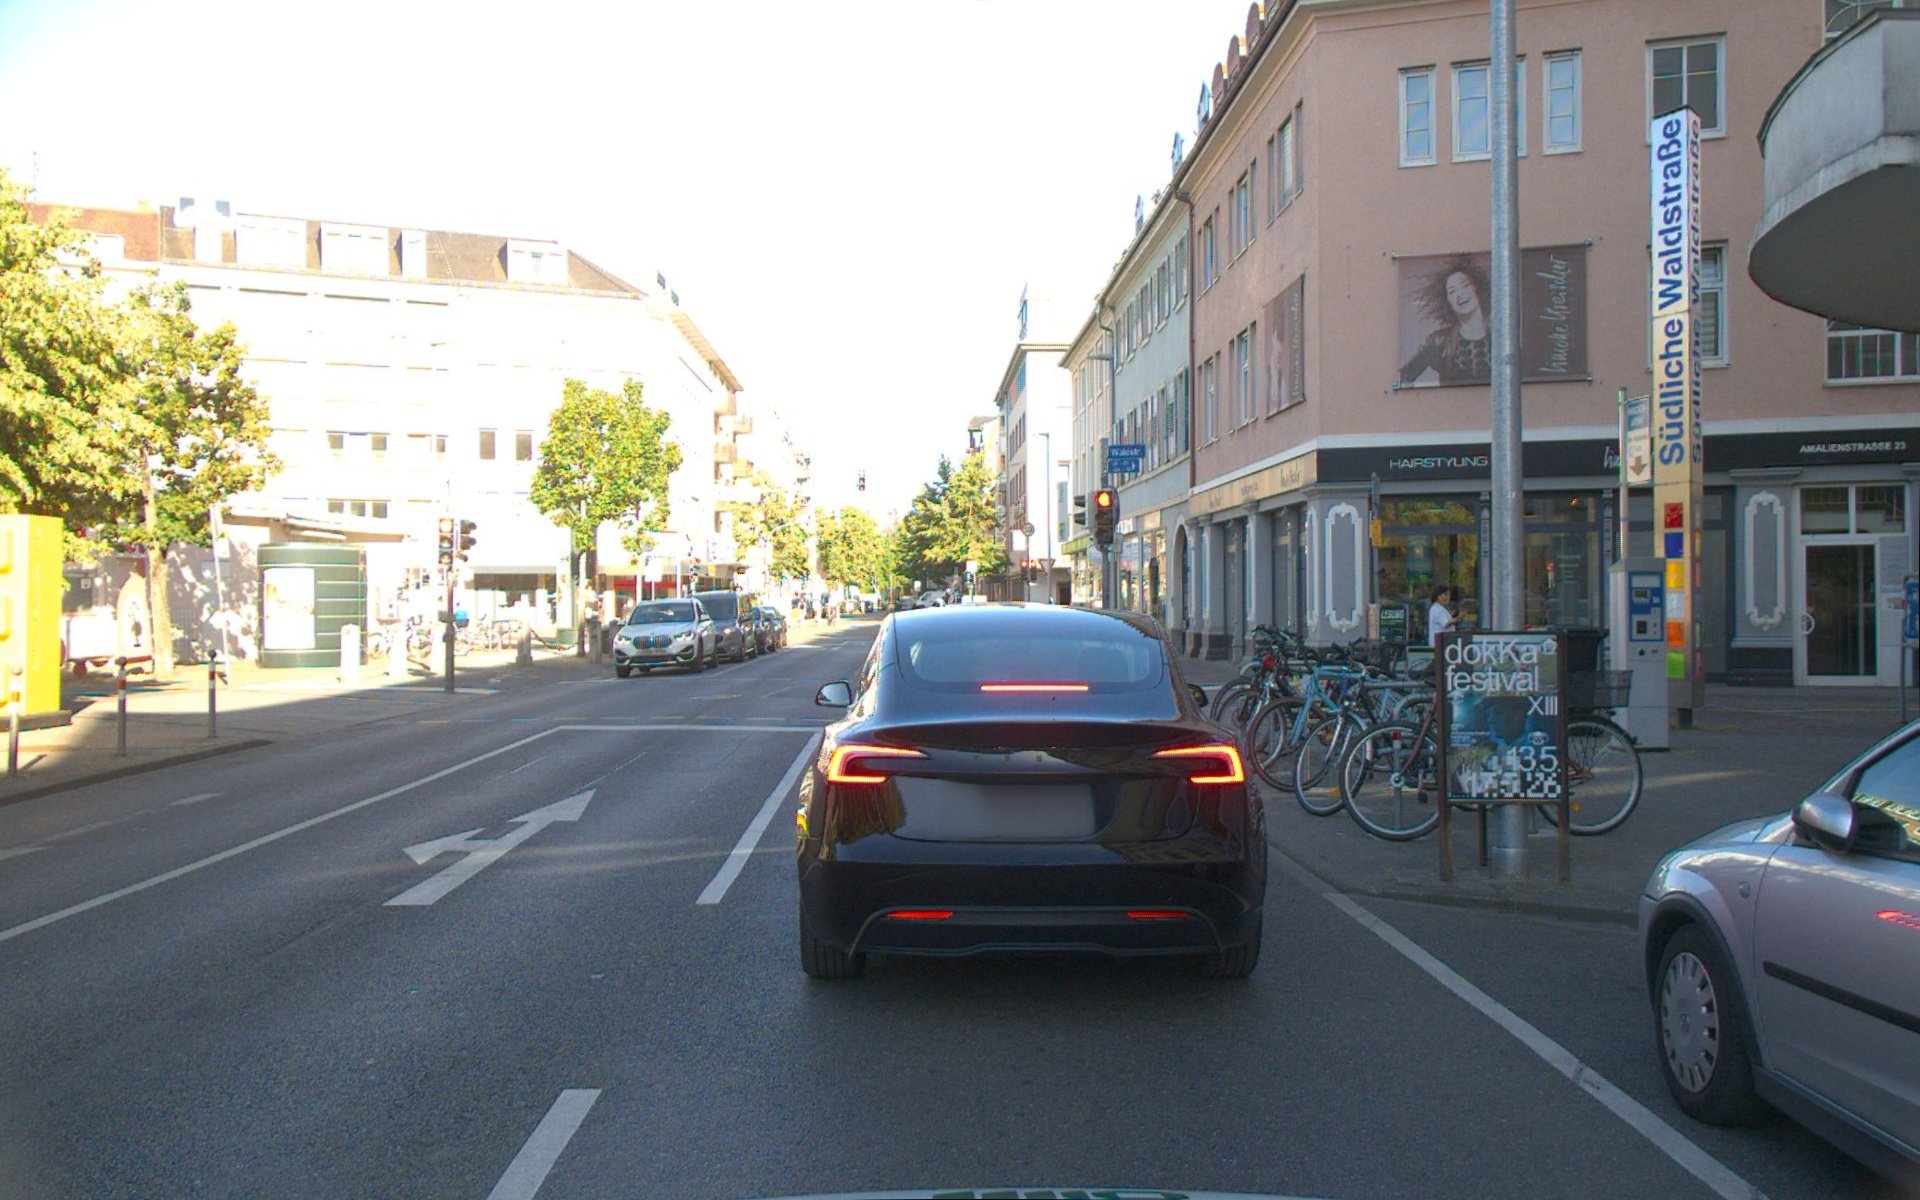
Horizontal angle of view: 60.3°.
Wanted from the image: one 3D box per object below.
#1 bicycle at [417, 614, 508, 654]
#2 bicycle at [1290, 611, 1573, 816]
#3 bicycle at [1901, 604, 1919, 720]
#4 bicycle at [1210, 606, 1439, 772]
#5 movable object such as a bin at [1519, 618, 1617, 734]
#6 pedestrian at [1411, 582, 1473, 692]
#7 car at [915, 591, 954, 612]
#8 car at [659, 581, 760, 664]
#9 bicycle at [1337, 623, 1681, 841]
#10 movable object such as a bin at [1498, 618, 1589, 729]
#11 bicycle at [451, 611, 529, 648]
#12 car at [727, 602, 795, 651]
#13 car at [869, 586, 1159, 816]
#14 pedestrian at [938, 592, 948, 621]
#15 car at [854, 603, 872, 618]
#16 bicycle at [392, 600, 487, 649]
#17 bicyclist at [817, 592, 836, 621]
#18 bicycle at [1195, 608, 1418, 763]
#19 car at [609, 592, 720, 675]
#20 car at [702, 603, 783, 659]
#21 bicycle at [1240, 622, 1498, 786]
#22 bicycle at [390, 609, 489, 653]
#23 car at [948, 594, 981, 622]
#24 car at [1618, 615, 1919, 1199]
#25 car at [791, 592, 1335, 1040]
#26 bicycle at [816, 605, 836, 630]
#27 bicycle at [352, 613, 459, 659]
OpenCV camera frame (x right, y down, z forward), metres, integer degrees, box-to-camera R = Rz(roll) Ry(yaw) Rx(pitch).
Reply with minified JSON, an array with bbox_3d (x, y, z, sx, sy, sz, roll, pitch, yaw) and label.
[{"bbox_3d":[-14.890,1.008,49.574,2.485,1.176,0.841,0,0,-6],"label":"bicycle"},{"bbox_3d":[3.141,0.747,11.167,1.686,1.290,0.791,-2,0,5],"label":"bicycle"},{"bbox_3d":[10.313,0.654,17.015,0.645,1.220,2.212,0,0,18],"label":"bicycle"},{"bbox_3d":[2.989,0.719,13.695,1.709,1.289,0.781,-2,0,2],"label":"bicycle"},{"bbox_3d":[6.046,0.746,16.474,0.737,1.111,0.627,1,0,1],"label":"movable object such as a bin"},{"bbox_3d":[7.030,0.532,24.146,0.731,1.579,0.699,0,0,2],"label":"pedestrian"},{"bbox_3d":[-2.577,0.145,167.525,3.907,2.049,1.999,0,0,-2],"label":"car"},{"bbox_3d":[-6.368,0.532,42.511,1.797,1.877,4.674,-4,0,0],"label":"car"},{"bbox_3d":[3.288,0.782,10.037,1.846,1.214,0.692,-2,1,5],"label":"bicycle"},{"bbox_3d":[6.025,0.748,17.112,0.718,1.111,0.627,1,0,1],"label":"movable object such as a bin"},{"bbox_3d":[-15.125,0.941,53.242,2.279,1.176,0.841,0,0,-6],"label":"bicycle"},{"bbox_3d":[-6.805,0.866,56.919,1.954,1.461,4.671,-4,0,-3],"label":"car"},{"bbox_3d":[0.289,0.673,13.215,1.953,1.538,4.173,0,0,-2],"label":"car"},{"bbox_3d":[-1.218,0.461,119.449,0.628,2.049,0.690,0,0,-5],"label":"pedestrian"},{"bbox_3d":[-10.992,1.196,186.901,1.954,1.666,3.997,0,0,-4],"label":"car"},{"bbox_3d":[-14.712,0.690,46.820,2.429,1.347,0.921,0,0,-6],"label":"bicycle"},{"bbox_3d":[-7.717,0.363,95.503,1.104,1.657,0.964,0,0,-4],"label":"bicyclist"},{"bbox_3d":[3.054,0.746,14.726,1.822,1.280,0.833,-2,0,5],"label":"bicycle"},{"bbox_3d":[-6.383,0.684,36.126,1.771,1.582,4.307,-4,0,-3],"label":"car"},{"bbox_3d":[-6.422,0.879,49.333,1.954,1.434,4.671,-4,0,-3],"label":"car"},{"bbox_3d":[3.058,0.769,12.517,1.760,1.144,0.782,-2,0,5],"label":"bicycle"},{"bbox_3d":[-14.103,0.836,44.897,2.412,1.176,0.842,0,0,-2],"label":"bicycle"},{"bbox_3d":[0.277,0.465,100.798,1.953,1.657,3.999,0,0,-1],"label":"car"},{"bbox_3d":[2.933,0.776,3.527,1.580,1.406,3.642,1,0,0],"label":"car"},{"bbox_3d":[0.316,0.722,7.506,1.810,1.480,3.999,0,0,-1],"label":"car"},{"bbox_3d":[-7.701,0.990,95.410,1.089,1.368,3.997,0,0,-4],"label":"bicycle"},{"bbox_3d":[-14.190,0.917,42.363,2.455,1.176,0.842,0,0,-2],"label":"bicycle"}]
